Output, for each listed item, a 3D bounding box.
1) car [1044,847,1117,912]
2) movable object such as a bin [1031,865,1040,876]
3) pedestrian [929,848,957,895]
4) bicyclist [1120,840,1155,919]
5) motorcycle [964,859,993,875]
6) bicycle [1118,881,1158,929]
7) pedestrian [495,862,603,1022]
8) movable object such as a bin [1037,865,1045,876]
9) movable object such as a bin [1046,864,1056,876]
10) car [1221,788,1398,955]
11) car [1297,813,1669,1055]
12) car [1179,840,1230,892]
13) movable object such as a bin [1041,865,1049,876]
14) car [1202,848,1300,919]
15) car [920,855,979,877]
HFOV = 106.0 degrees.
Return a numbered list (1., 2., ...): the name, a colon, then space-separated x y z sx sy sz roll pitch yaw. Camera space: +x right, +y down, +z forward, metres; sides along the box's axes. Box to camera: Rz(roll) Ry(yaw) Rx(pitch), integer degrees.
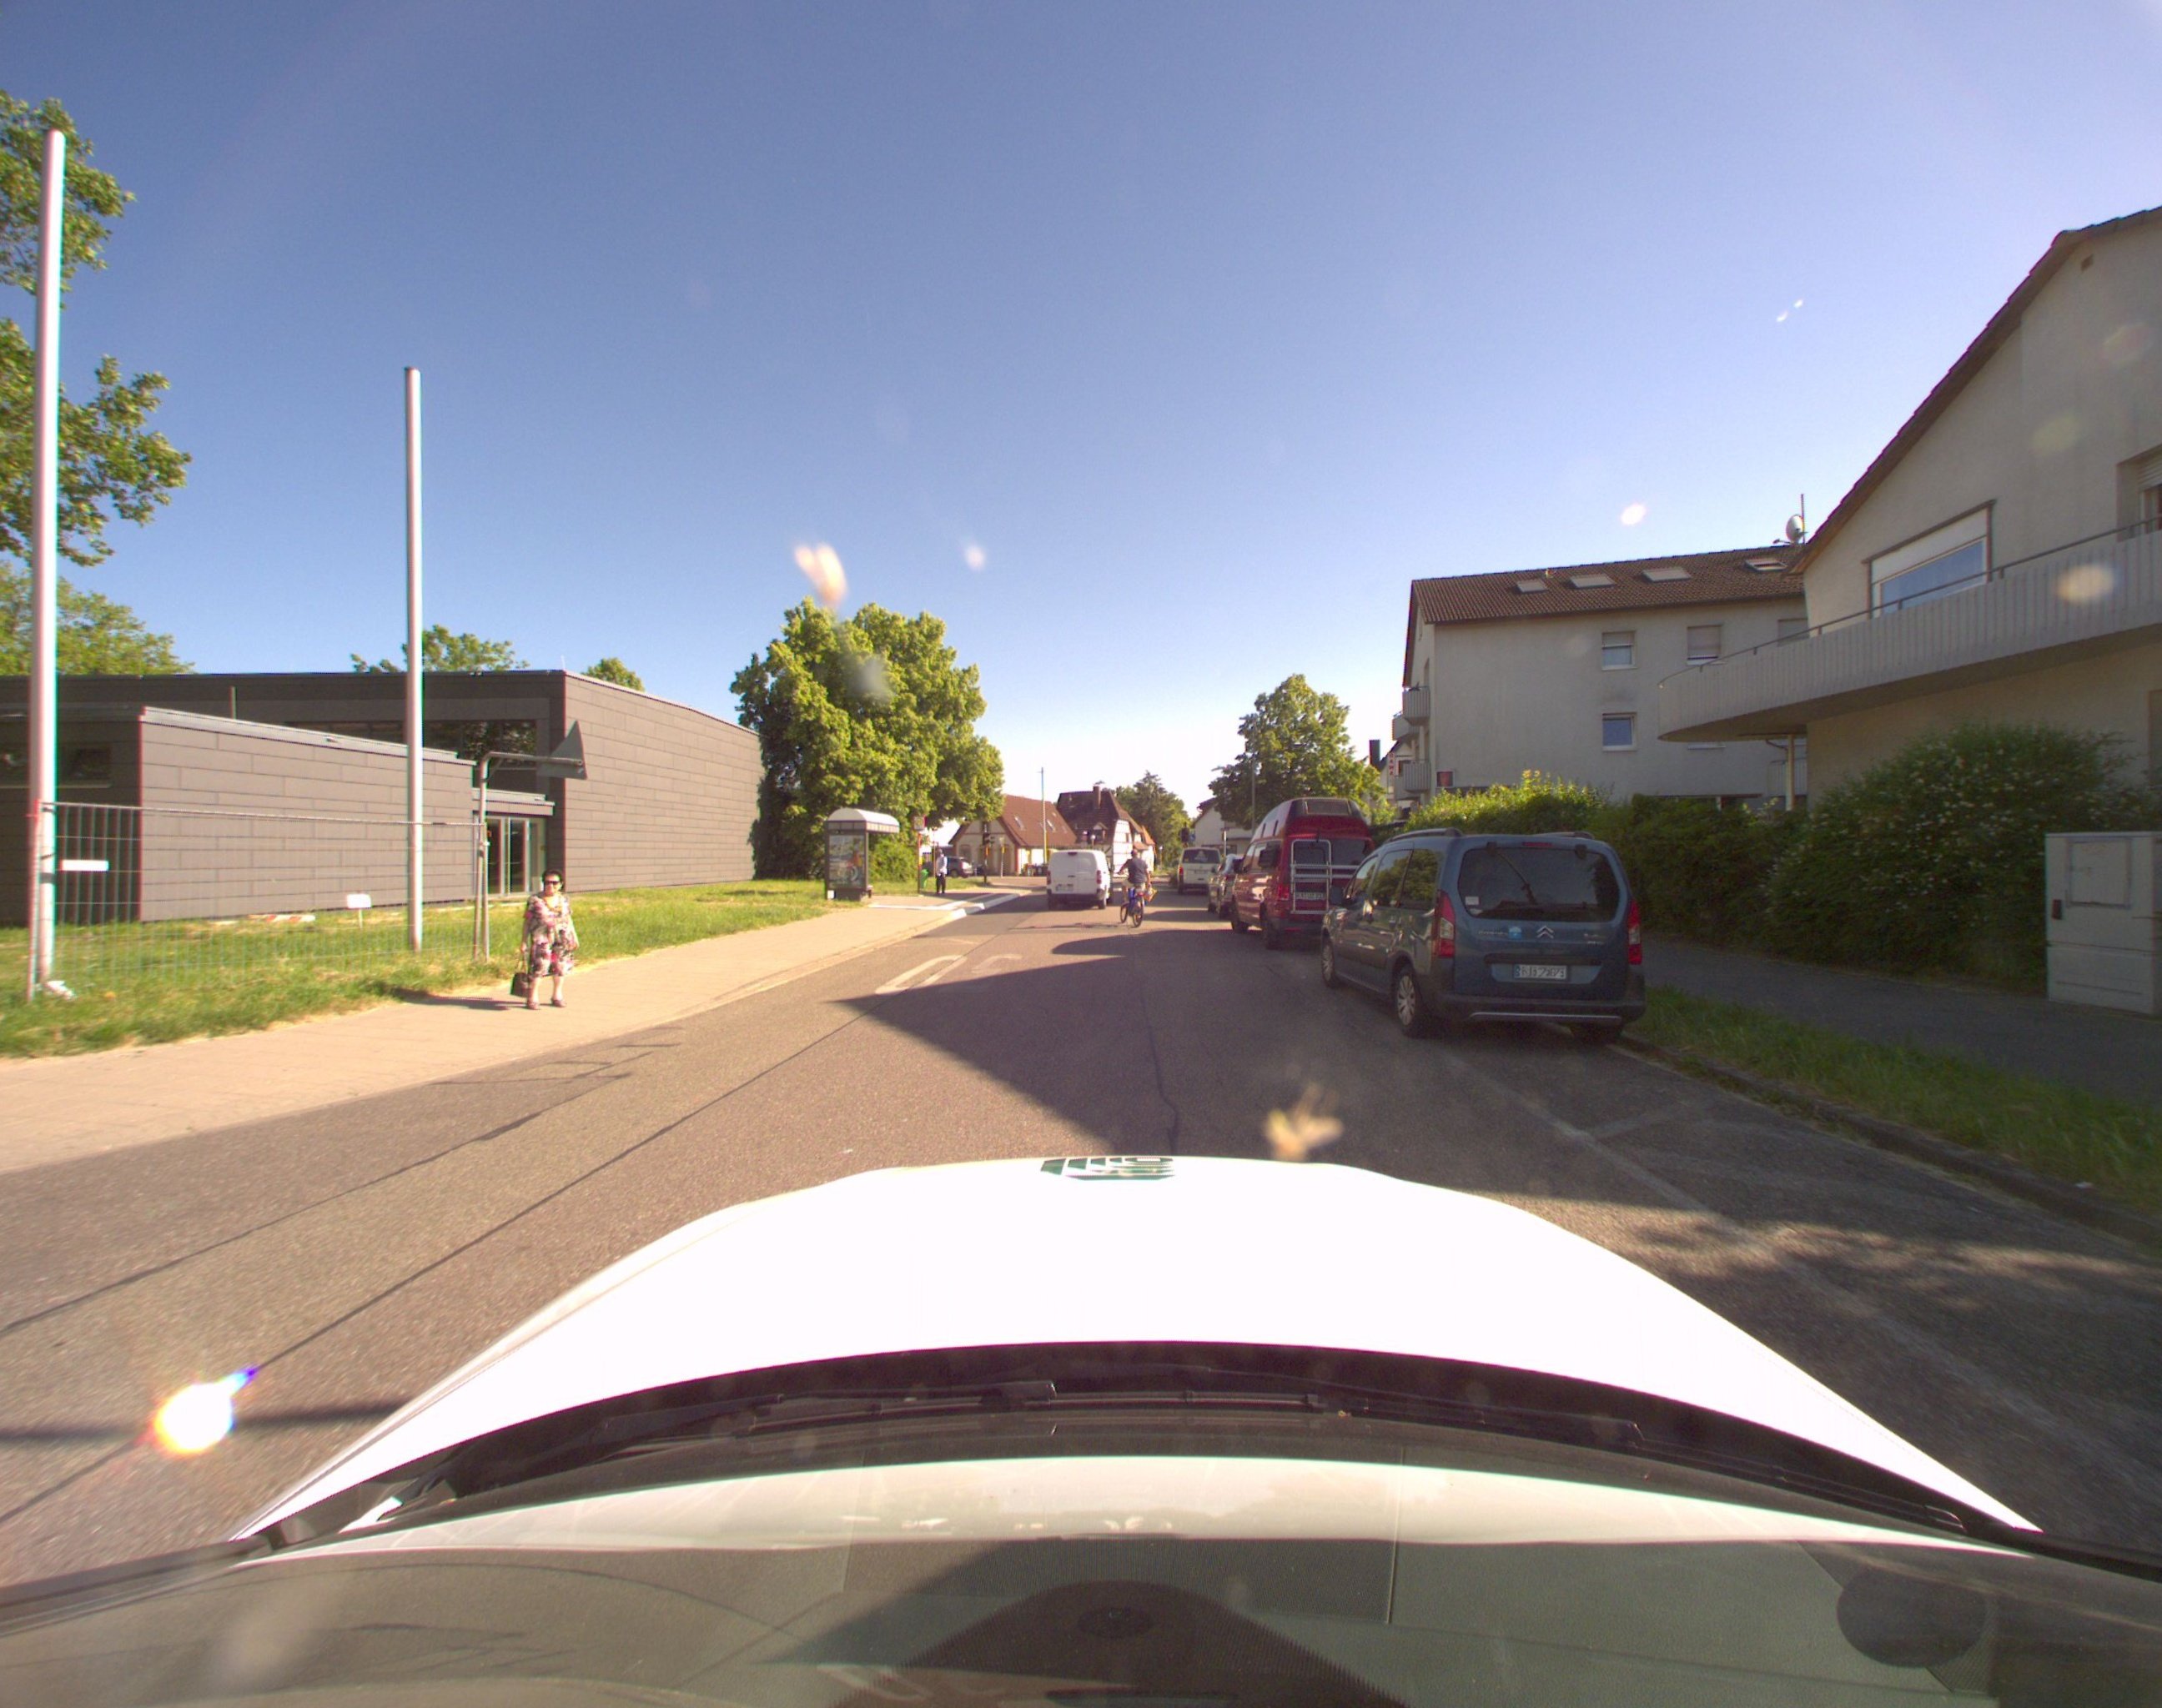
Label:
1. car: 0.093 0.745 26.529 1.948 1.848 4.567 -1 1 5
2. movable object such as a bin: -3.814 1.356 67.786 0.503 0.924 0.629 0 0 22
3. pedestrian: -5.363 0.681 31.726 0.709 1.802 0.775 2 1 45
4. bicyclist: 1.302 0.578 18.822 0.762 1.789 0.853 0 0 0
5. motorcycle: -8.603 1.117 68.302 2.222 1.295 0.888 -1 2 23
6. bicycle: 1.296 1.147 18.907 0.772 0.940 2.291 -1 0 1
7. pedestrian: -5.743 0.911 8.796 0.826 1.587 0.636 4 0 36
8. movable object such as a bin: -3.352 1.350 67.594 0.408 0.906 0.629 0 0 22
9. movable object such as a bin: -2.480 1.328 67.215 0.551 0.924 0.629 0 0 22
10. car: 4.090 0.266 15.573 1.950 2.644 5.223 0 0 0
11. car: 3.751 0.611 8.669 1.849 1.848 4.563 2 0 3
12. car: 5.245 0.514 35.116 1.983 2.079 4.585 0 -1 6
13. movable object such as a bin: -2.952 1.340 67.405 0.407 0.924 0.629 0 0 22
14. car: 4.556 0.726 22.521 1.949 1.738 4.579 0 0 2
15. car: -10.501 0.916 64.980 4.183 1.725 1.956 0 -1 22
